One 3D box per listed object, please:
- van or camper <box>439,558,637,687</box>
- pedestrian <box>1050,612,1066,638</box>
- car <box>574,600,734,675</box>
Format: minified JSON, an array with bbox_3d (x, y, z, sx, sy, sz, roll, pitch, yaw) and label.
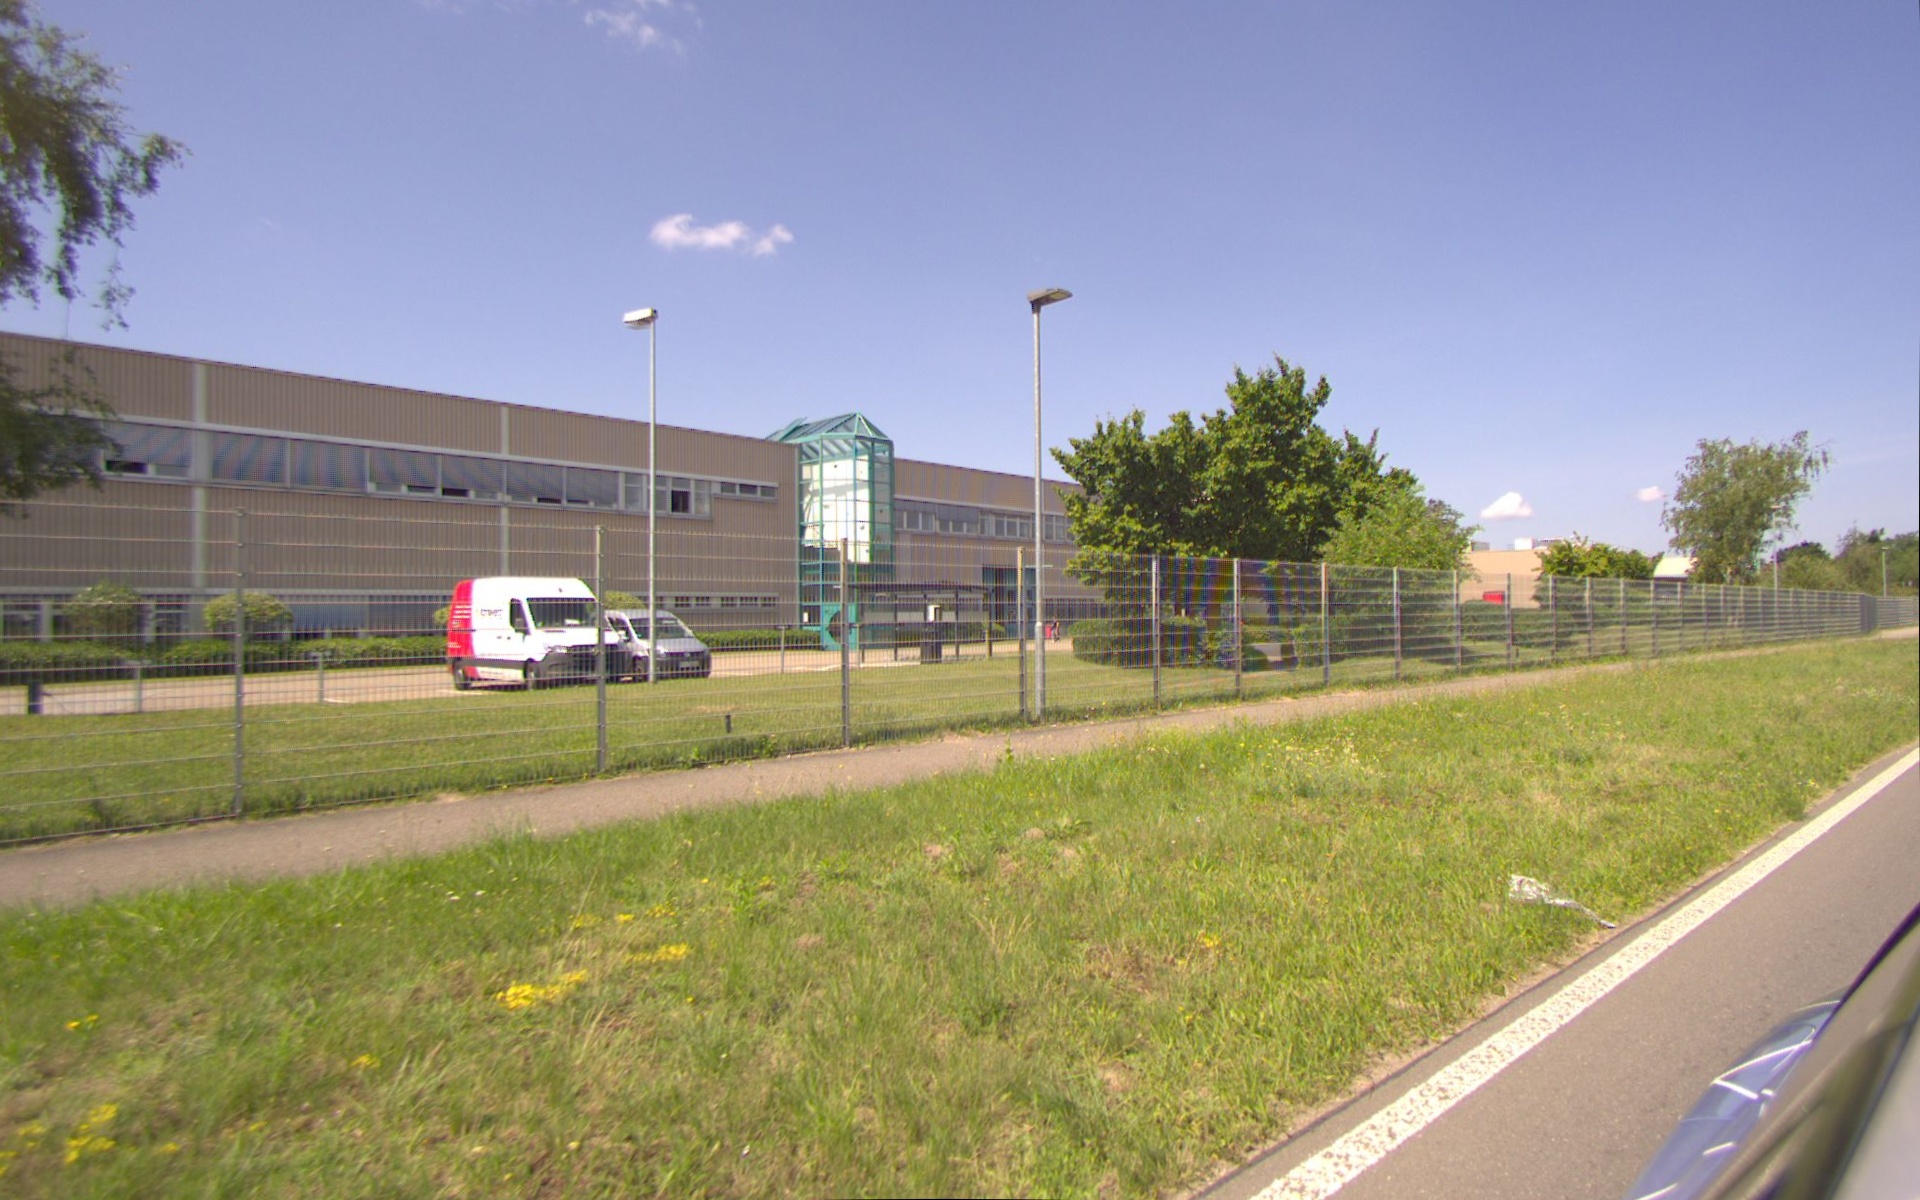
[{"bbox_3d":[-9.828,0.614,23.248,5.766,2.551,1.969,-6,-4,43],"label":"van or camper"},{"bbox_3d":[5.333,1.346,54.964,0.514,1.409,0.718,-2,-2,45],"label":"pedestrian"},{"bbox_3d":[-7.417,0.882,24.387,3.985,1.661,1.969,-2,-2,43],"label":"car"}]
